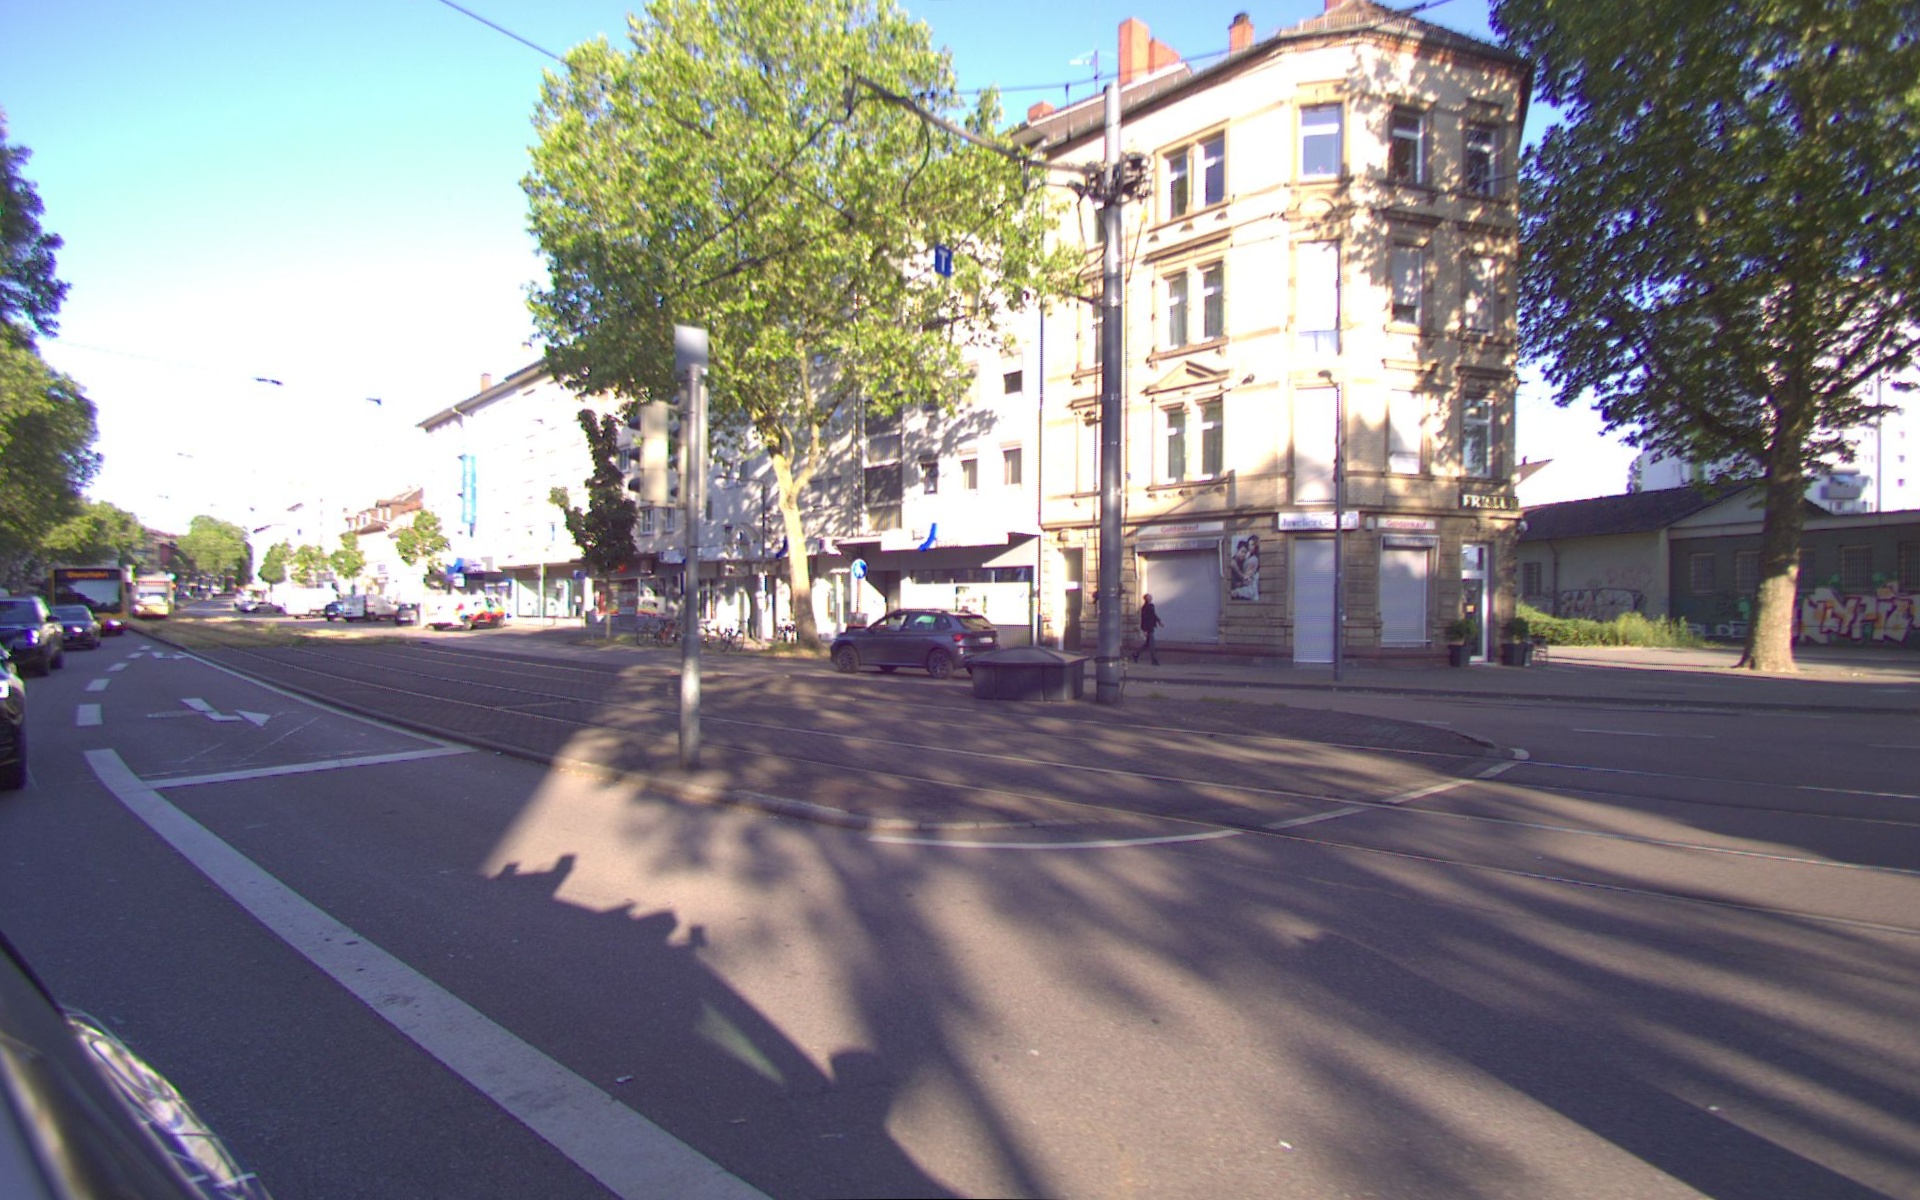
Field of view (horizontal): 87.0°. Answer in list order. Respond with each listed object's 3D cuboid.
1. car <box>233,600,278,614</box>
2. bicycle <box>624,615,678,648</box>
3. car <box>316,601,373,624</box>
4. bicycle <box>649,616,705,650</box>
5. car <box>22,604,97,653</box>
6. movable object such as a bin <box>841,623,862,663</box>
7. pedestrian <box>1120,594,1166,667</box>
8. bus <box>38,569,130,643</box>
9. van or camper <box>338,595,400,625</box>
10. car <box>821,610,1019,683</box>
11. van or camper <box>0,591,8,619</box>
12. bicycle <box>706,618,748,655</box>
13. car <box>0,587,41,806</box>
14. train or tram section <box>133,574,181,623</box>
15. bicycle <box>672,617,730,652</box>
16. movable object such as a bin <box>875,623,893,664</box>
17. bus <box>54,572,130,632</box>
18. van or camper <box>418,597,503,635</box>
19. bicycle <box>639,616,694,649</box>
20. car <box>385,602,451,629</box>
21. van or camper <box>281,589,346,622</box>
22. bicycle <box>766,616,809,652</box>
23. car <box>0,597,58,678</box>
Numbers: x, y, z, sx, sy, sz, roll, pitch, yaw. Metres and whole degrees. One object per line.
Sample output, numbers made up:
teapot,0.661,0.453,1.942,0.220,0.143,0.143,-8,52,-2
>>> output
car,-80.934,0.789,116.260,1.760,1.501,3.883,-1,1,25
bicycle,-11.539,1.162,37.819,1.872,1.132,0.534,-1,0,-44
car,-48.501,0.977,79.843,1.855,1.598,3.995,-1,1,5
bicycle,-10.138,1.169,36.310,1.872,1.132,0.653,-1,0,-44
car,-29.214,0.880,32.923,1.633,1.497,4.168,0,0,-39
movable object such as a bin,-3.047,1.205,28.410,0.537,1.102,0.648,0,-1,-2
pedestrian,4.679,0.762,25.912,0.610,1.801,0.973,-2,1,-37
bus,-40.328,0.120,46.870,2.829,3.001,12.262,-2,2,-39
van or camper,-43.664,0.723,74.900,1.777,2.004,4.447,-1,1,3
car,-0.934,0.980,22.895,4.193,1.483,1.872,0,0,32
van or camper,-86.789,0.465,88.356,1.975,2.488,5.453,0,0,6
bicycle,-7.594,1.167,32.985,0.502,1.132,1.914,-1,0,-40
car,-9.176,0.740,8.701,1.781,1.659,4.006,0,0,-41
train or tram section,-60.448,-0.096,76.343,2.597,3.476,11.153,-1,0,-37
bicycle,-8.967,1.169,35.053,1.872,1.132,0.653,-1,0,-44
movable object such as a bin,-2.095,1.186,27.795,0.470,1.102,0.574,0,-1,-2
bus,-48.143,-0.025,56.356,2.829,3.001,12.262,-2,2,-39
van or camper,-27.492,0.831,55.859,1.927,1.912,4.807,-1,1,5
bicycle,-10.682,1.165,36.901,1.872,1.132,0.534,-1,0,-44
car,-34.570,0.974,64.737,1.745,1.501,4.450,-1,1,1
van or camper,-57.651,0.437,90.402,1.970,2.687,6.405,-1,1,-4
bicycle,-5.844,1.137,34.192,0.502,1.132,1.914,-1,0,-40
car,-20.332,0.745,21.445,1.633,1.593,4.007,0,0,-39
